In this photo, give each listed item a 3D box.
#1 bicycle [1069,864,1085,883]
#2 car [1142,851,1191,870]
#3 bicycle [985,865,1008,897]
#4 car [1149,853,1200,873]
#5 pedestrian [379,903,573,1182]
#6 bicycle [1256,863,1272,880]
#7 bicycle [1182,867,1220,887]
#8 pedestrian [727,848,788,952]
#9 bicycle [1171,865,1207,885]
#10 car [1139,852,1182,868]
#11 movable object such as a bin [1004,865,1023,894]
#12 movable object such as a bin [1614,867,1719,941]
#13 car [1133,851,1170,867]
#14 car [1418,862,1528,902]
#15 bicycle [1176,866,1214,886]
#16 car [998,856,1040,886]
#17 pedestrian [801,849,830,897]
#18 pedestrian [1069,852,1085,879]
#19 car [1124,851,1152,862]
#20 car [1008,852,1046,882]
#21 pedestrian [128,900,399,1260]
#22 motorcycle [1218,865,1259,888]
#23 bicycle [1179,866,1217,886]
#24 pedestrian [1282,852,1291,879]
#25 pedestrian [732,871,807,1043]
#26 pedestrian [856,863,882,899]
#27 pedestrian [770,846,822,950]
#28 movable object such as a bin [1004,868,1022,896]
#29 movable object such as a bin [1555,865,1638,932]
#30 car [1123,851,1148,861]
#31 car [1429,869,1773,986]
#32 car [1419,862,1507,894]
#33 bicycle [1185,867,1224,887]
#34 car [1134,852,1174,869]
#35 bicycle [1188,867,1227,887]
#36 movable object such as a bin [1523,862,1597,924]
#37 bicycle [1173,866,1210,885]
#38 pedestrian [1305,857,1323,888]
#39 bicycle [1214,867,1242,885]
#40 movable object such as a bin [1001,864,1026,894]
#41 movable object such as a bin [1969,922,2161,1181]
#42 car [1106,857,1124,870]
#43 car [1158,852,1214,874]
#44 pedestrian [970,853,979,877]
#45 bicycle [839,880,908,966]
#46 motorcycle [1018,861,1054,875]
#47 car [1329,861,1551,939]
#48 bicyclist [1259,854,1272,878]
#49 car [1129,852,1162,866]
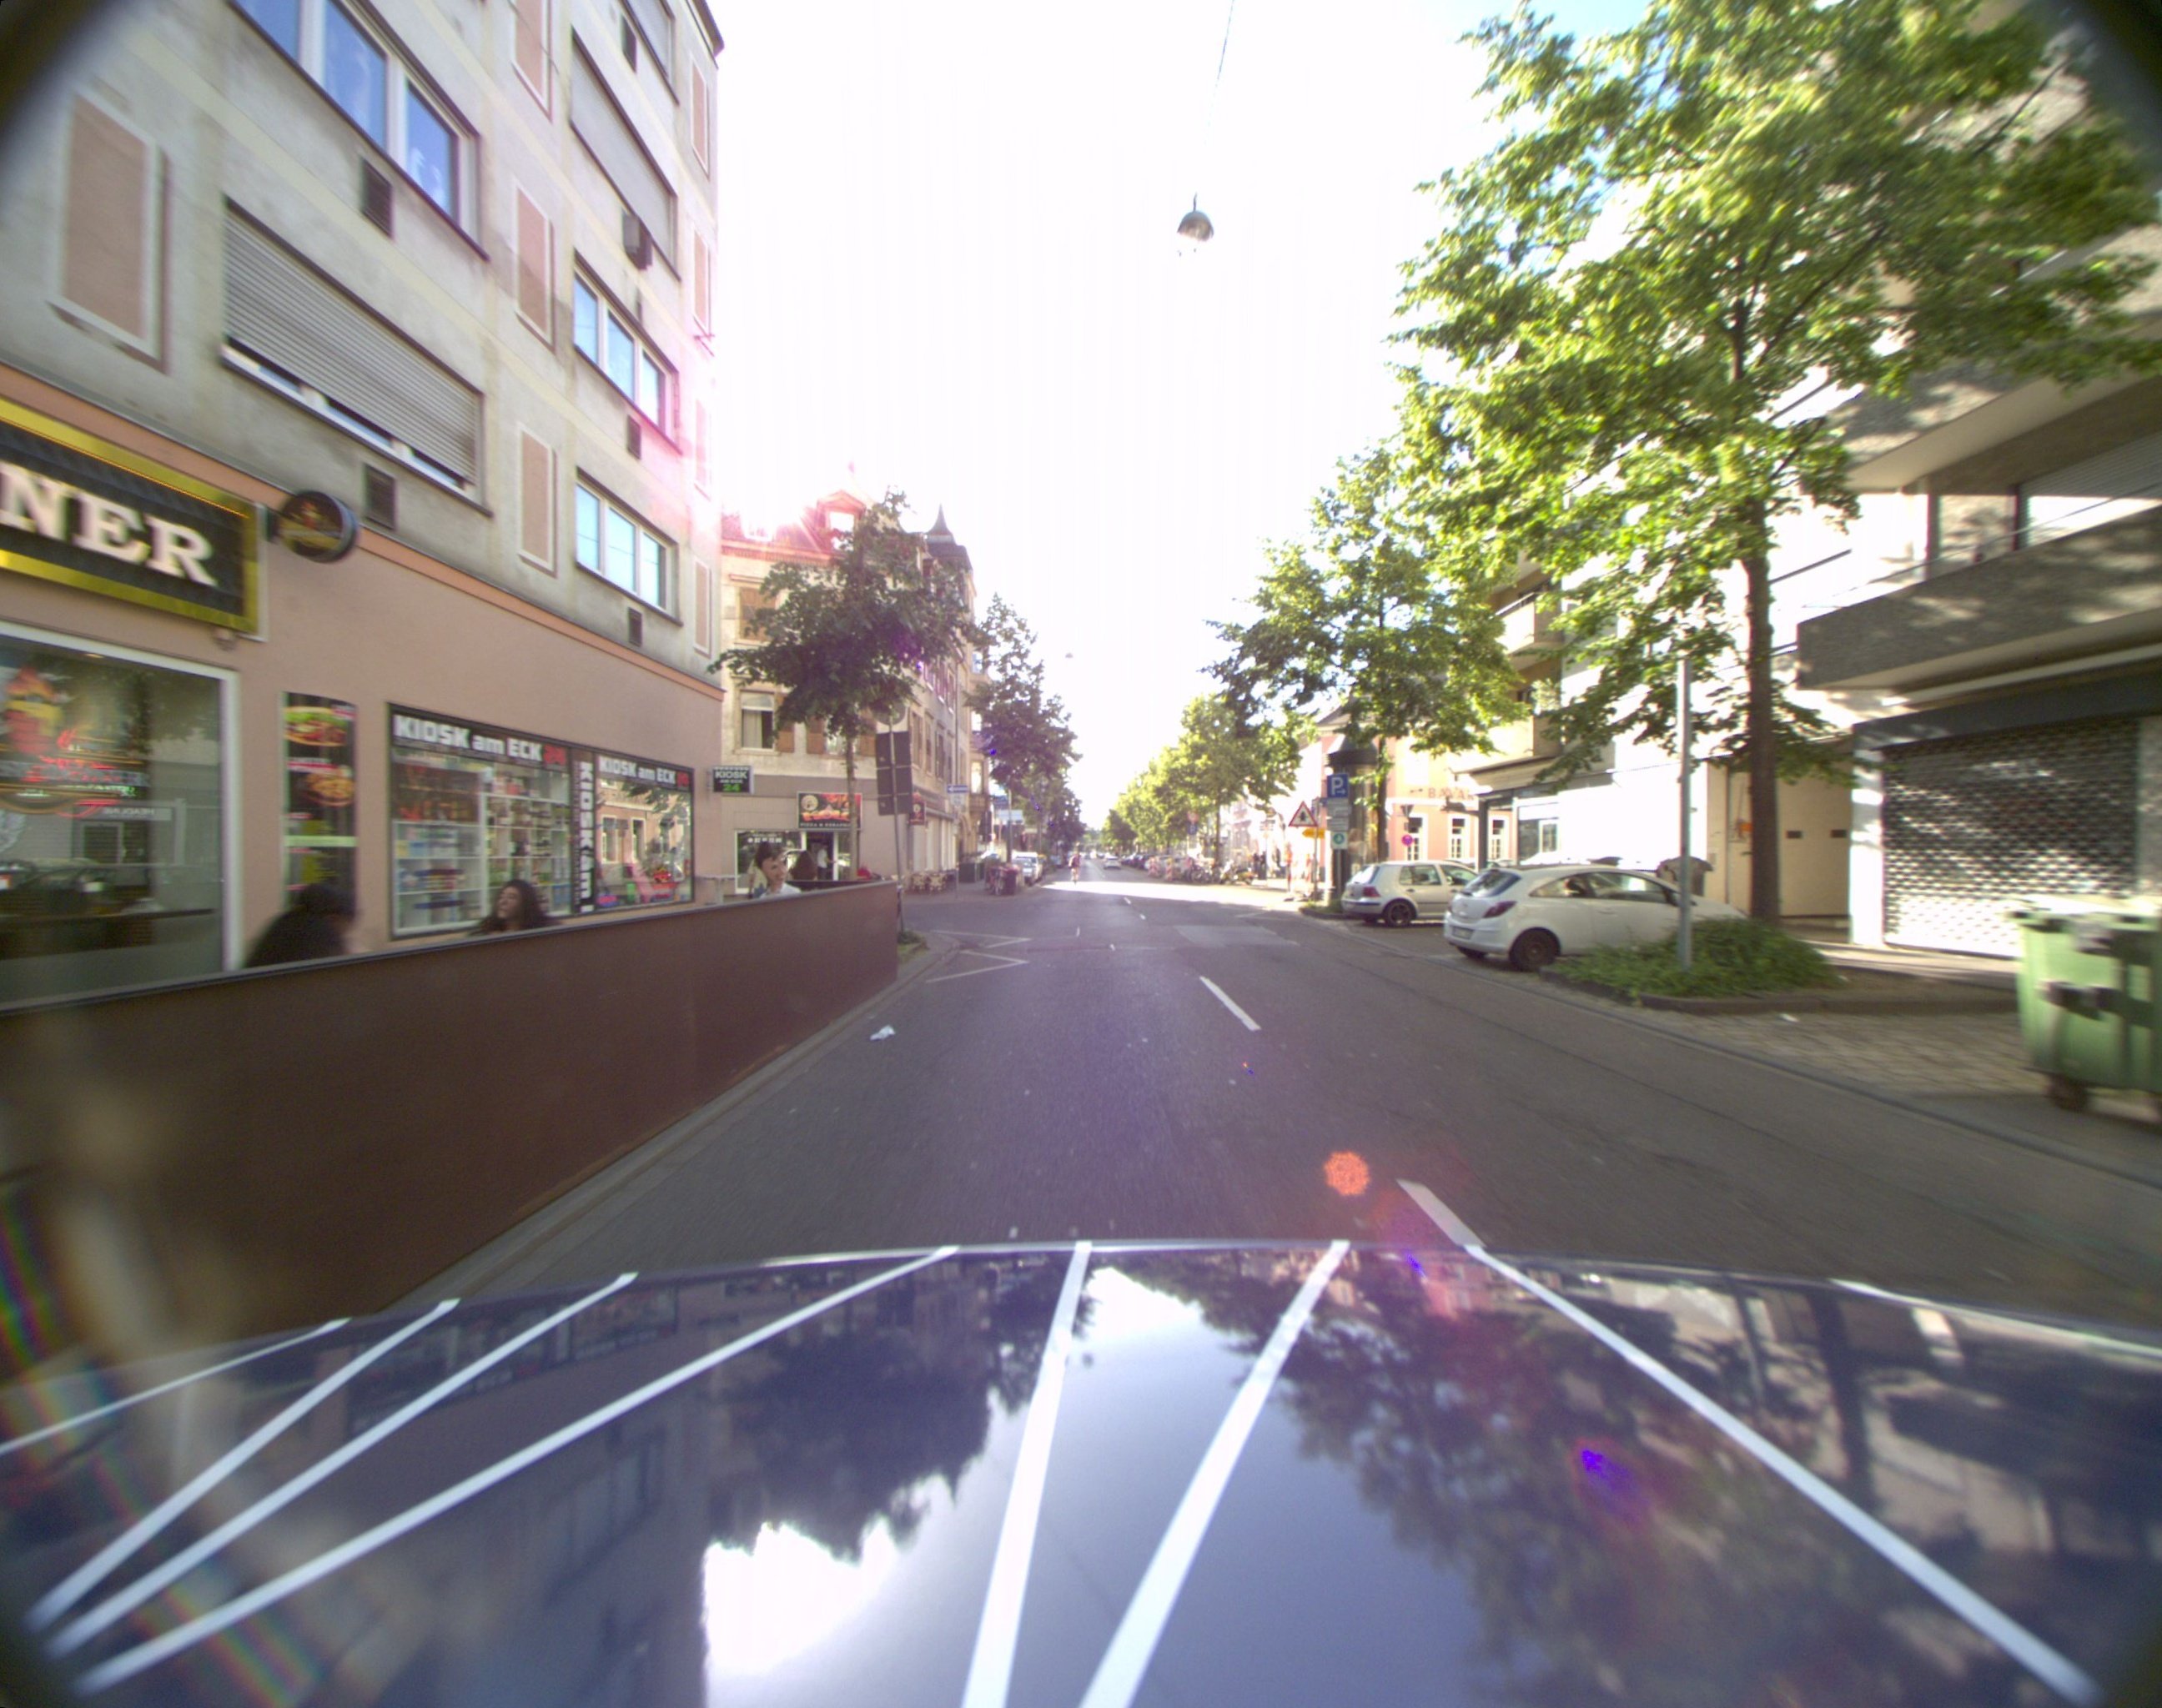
[{"bbox_3d":[-0.212,1.028,40.011,0.805,0.958,1.996,-1,0,-1],"label":"bicycle"},{"bbox_3d":[7.606,0.553,68.150,4.135,1.670,2.000,0,1,-1],"label":"car"},{"bbox_3d":[-3.375,1.059,30.192,0.379,1.139,1.670,1,1,-24],"label":"bicycle"},{"bbox_3d":[8.045,0.787,65.724,4.135,1.670,2.000,0,1,-1],"label":"car"},{"bbox_3d":[-3.264,0.977,4.146,0.553,1.371,0.594,0,1,1],"label":"pedestrian"},{"bbox_3d":[11.662,1.118,48.464,0.570,1.081,1.652,1,-1,0],"label":"bicycle"},{"bbox_3d":[6.546,1.239,41.476,2.006,1.023,0.473,-1,1,-12],"label":"bicycle"},{"bbox_3d":[-5.291,0.737,12.458,0.643,1.635,0.748,2,0,-1],"label":"pedestrian"},{"bbox_3d":[6.153,1.195,43.364,2.006,1.023,0.473,-1,1,-12],"label":"bicycle"},{"bbox_3d":[7.949,0.592,76.319,4.135,1.584,1.911,0,1,-1],"label":"car"},{"bbox_3d":[-2.751,1.027,30.982,0.721,1.149,0.602,1,0,3],"label":"movable object such as a bin"},{"bbox_3d":[11.843,0.981,15.438,1.080,1.406,1.352,1,0,1],"label":"movable object such as a bin"},{"bbox_3d":[8.271,0.570,89.269,4.135,1.792,1.911,0,1,-1],"label":"car"},{"bbox_3d":[15.237,1.052,29.555,3.607,1.468,1.901,1,0,-22],"label":"car"},{"bbox_3d":[6.358,1.224,42.390,2.006,1.023,0.473,-1,1,-12],"label":"bicycle"},{"bbox_3d":[-3.152,0.819,39.405,1.835,1.410,4.159,2,0,0],"label":"car"},{"bbox_3d":[-9.728,0.676,27.870,0.801,1.687,0.705,-1,3,-39],"label":"pedestrian"},{"bbox_3d":[-0.211,0.605,40.033,0.804,1.381,0.931,-1,0,-1],"label":"pedestrian"},{"bbox_3d":[8.960,0.419,119.712,4.135,1.792,1.911,0,1,-1],"label":"car"},{"bbox_3d":[-3.105,0.719,44.536,1.835,1.641,4.159,2,0,1],"label":"car"},{"bbox_3d":[-3.421,0.895,3.230,0.474,1.354,0.594,0,1,1],"label":"pedestrian"},{"bbox_3d":[8.202,1.164,39.691,2.003,1.178,0.740,-1,0,3],"label":"motorcycle"},{"bbox_3d":[6.455,1.226,41.967,2.006,1.023,0.473,-1,1,-12],"label":"bicycle"},{"bbox_3d":[13.117,0.740,48.609,0.517,1.716,0.526,1,0,18],"label":"pedestrian"},{"bbox_3d":[-2.861,0.923,7.000,0.474,1.520,0.462,0,1,1],"label":"pedestrian"},{"bbox_3d":[-7.635,0.971,27.415,0.714,1.252,0.589,0,3,-39],"label":"pedestrian"},{"bbox_3d":[-4.662,0.704,12.462,0.515,1.635,0.748,2,0,-1],"label":"pedestrian"},{"bbox_3d":[-2.712,1.115,30.318,0.634,1.062,0.602,2,2,2],"label":"movable object such as a bin"},{"bbox_3d":[11.781,0.983,17.416,1.035,1.451,1.258,1,0,1],"label":"movable object such as a bin"},{"bbox_3d":[9.343,0.321,131.058,4.135,1.792,1.911,0,1,-1],"label":"car"},{"bbox_3d":[7.259,0.978,10.854,3.788,1.455,1.710,-1,0,-2],"label":"car"},{"bbox_3d":[18.565,1.157,36.937,3.607,1.468,1.996,1,0,-24],"label":"car"},{"bbox_3d":[6.672,1.239,40.987,2.006,1.023,0.473,-1,1,-12],"label":"bicycle"},{"bbox_3d":[7.801,0.682,81.616,4.135,1.792,1.911,0,1,-1],"label":"car"},{"bbox_3d":[6.759,1.224,40.456,2.006,1.023,0.473,-1,1,-12],"label":"bicycle"},{"bbox_3d":[11.842,0.940,18.832,1.035,1.451,1.258,1,0,1],"label":"movable object such as a bin"},{"bbox_3d":[6.255,1.195,42.862,2.006,1.023,0.473,-1,1,-12],"label":"bicycle"},{"bbox_3d":[12.042,0.946,39.258,0.650,1.592,0.863,-1,0,0],"label":"pedestrian"},{"bbox_3d":[8.073,1.190,41.694,1.513,0.945,0.360,-1,1,41],"label":"bicycle"},{"bbox_3d":[-2.841,1.055,31.862,0.944,1.207,0.699,2,1,1],"label":"movable object such as a bin"},{"bbox_3d":[6.347,1.091,4.457,1.240,1.295,0.870,0,1,-1],"label":"movable object such as a bin"},{"bbox_3d":[3.704,1.034,84.125,1.835,1.410,3.833,1,0,0],"label":"car"},{"bbox_3d":[8.298,0.691,60.279,4.135,1.670,2.000,0,1,-1],"label":"car"},{"bbox_3d":[-6.384,0.647,45.558,0.460,1.434,0.521,0,1,-1],"label":"pedestrian"},{"bbox_3d":[-3.249,1.037,12.081,0.509,1.157,2.144,1,0,0],"label":"bicycle"},{"bbox_3d":[-3.526,1.055,59.151,2.656,1.071,0.962,1,0,-14],"label":"motorcycle"},{"bbox_3d":[7.713,0.955,16.587,4.008,1.456,1.748,-1,2,0],"label":"car"},{"bbox_3d":[11.667,0.750,48.029,0.570,1.495,0.751,1,3,0],"label":"bicyclist"},{"bbox_3d":[8.354,0.581,98.991,4.135,1.792,1.911,0,1,-1],"label":"car"}]
